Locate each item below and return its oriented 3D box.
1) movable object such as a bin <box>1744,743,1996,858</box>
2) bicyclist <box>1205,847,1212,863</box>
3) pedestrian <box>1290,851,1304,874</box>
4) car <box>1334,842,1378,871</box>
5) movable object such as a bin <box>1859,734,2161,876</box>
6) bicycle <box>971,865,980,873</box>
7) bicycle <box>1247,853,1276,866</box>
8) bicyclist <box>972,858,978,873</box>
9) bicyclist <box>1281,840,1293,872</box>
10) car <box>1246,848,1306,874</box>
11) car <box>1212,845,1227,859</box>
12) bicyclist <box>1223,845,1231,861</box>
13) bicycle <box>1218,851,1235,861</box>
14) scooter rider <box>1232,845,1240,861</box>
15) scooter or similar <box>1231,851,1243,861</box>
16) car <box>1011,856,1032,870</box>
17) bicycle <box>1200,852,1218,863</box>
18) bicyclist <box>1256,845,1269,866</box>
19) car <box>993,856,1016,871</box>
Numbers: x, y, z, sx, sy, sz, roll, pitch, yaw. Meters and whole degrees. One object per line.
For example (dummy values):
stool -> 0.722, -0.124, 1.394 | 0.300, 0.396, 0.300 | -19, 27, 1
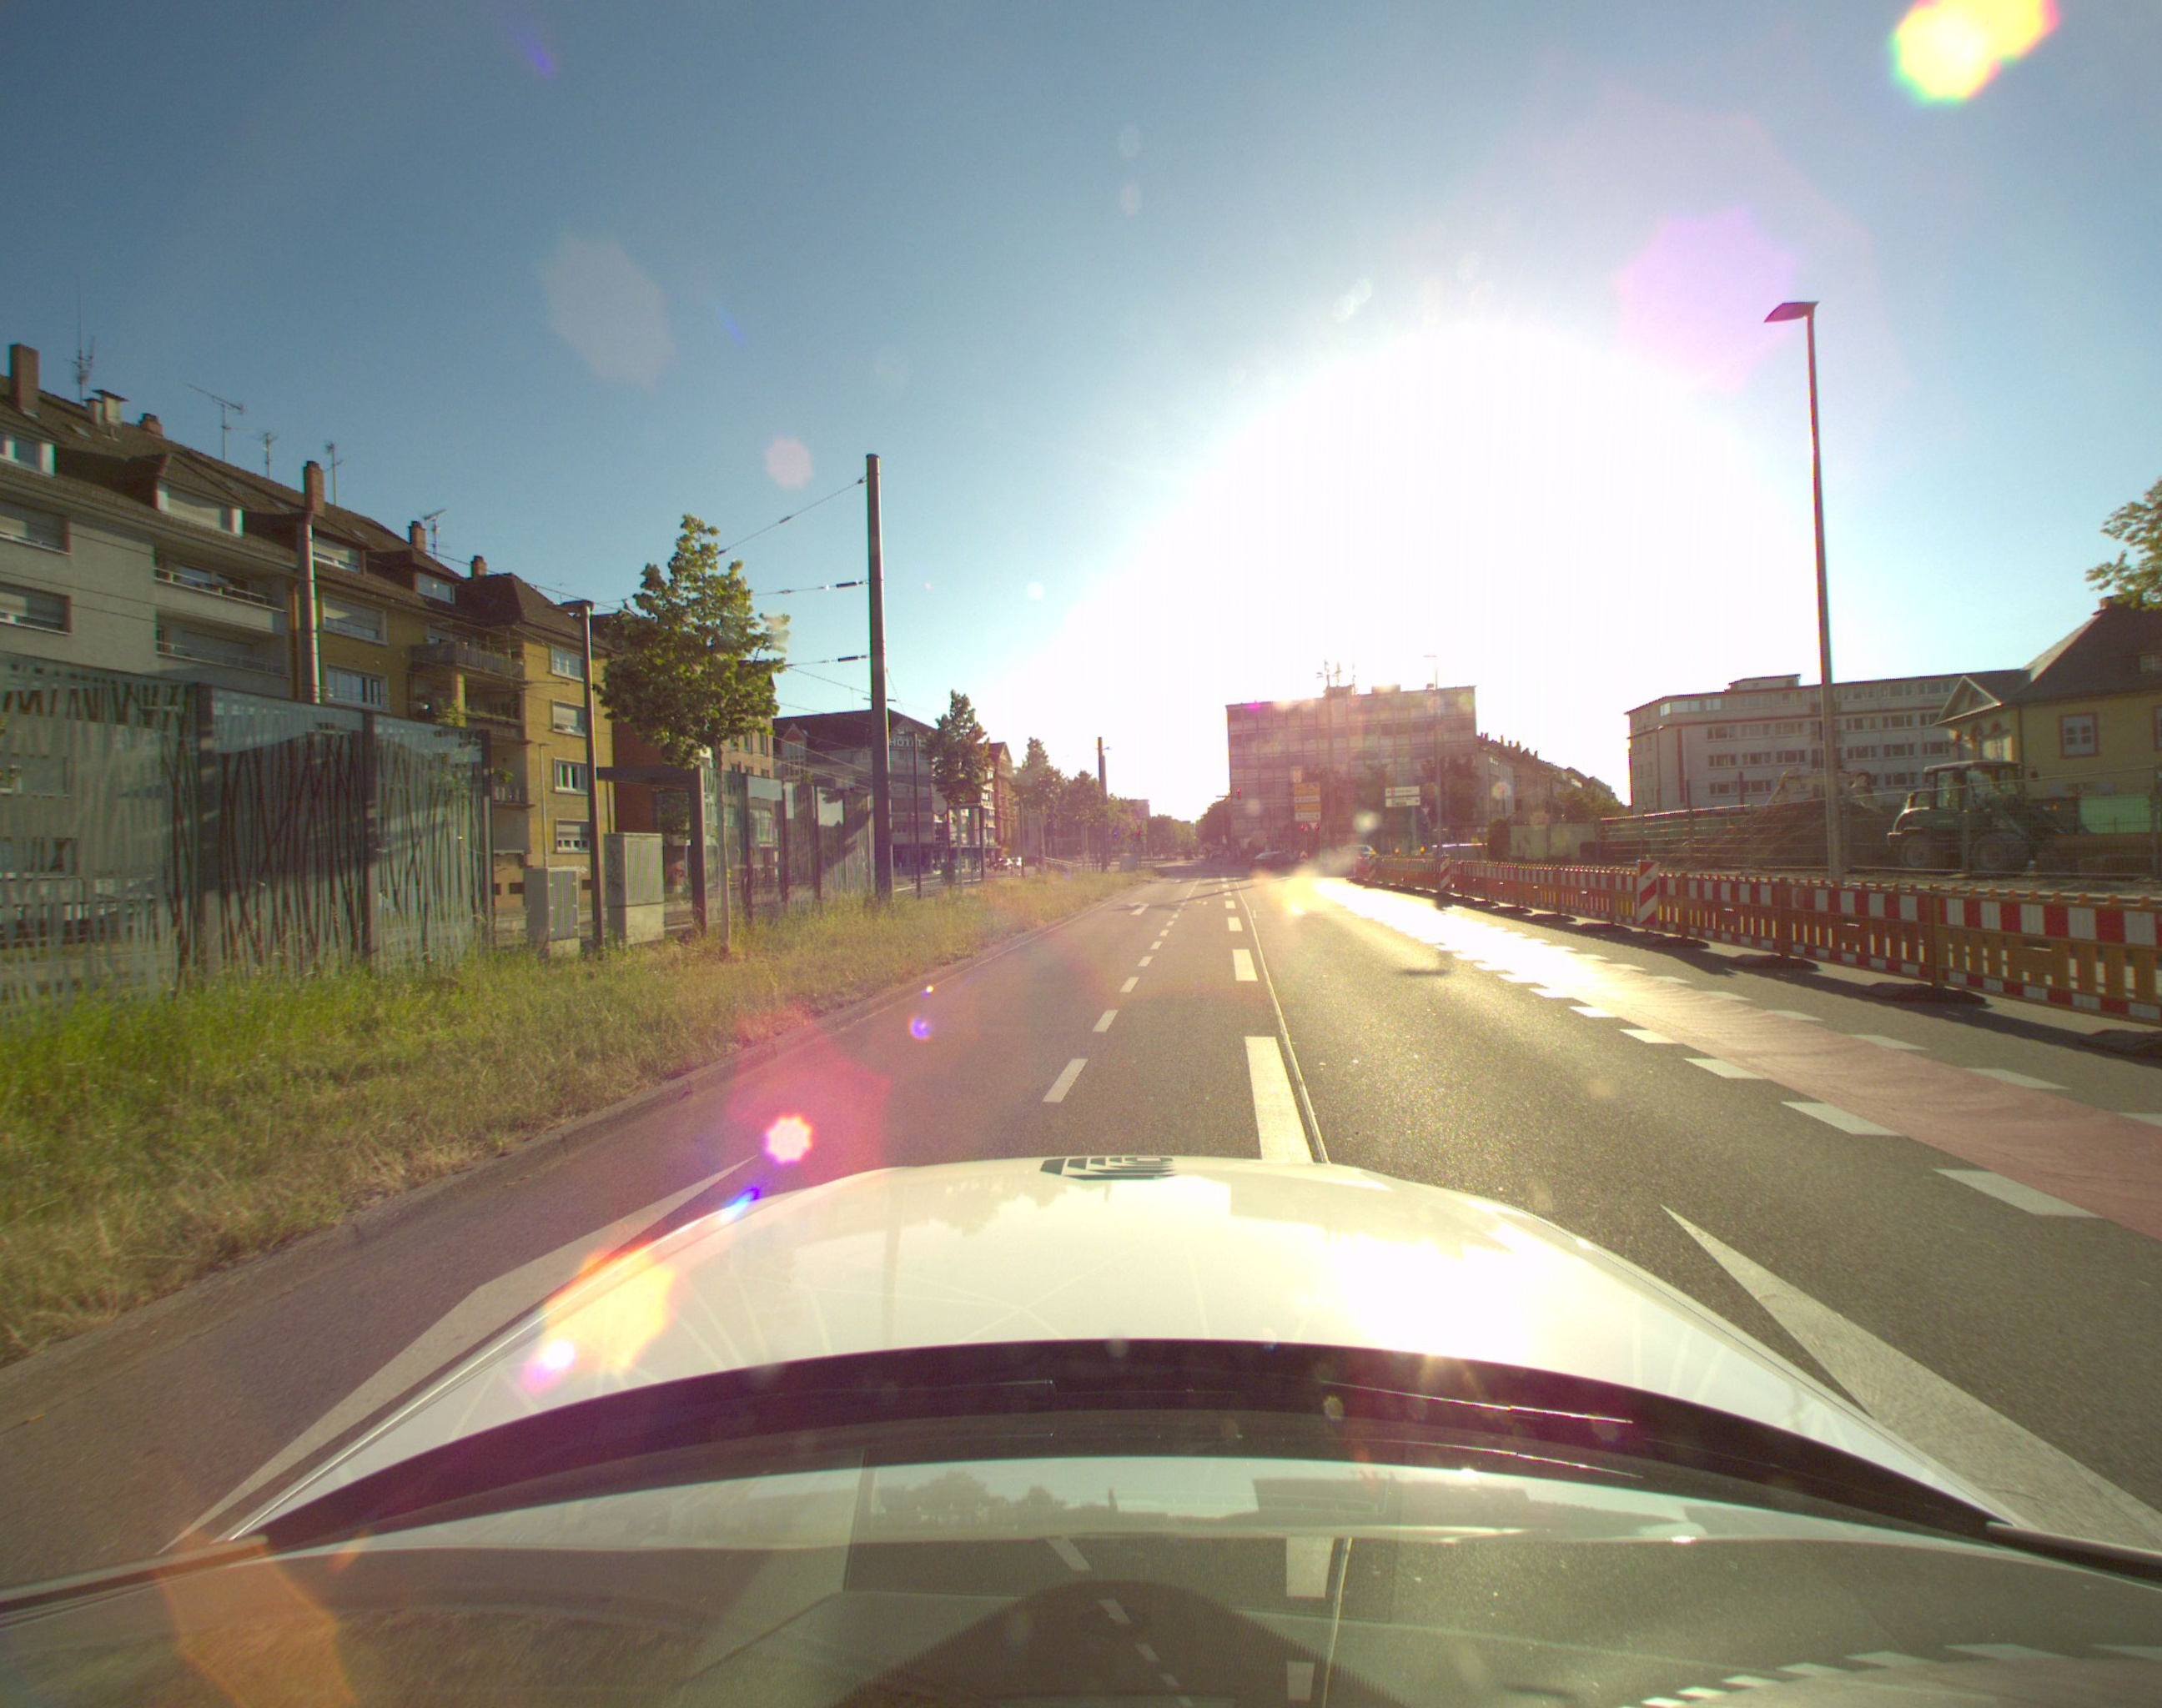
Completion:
movable object such as a bin -> 27.933, -1.765, 29.286 | 6.002, 3.557, 2.880 | -2, 0, 34
bicyclist -> 14.035, 0.065, 89.524 | 0.661, 1.712, 0.538 | -3, 0, -1
pedestrian -> 15.309, 0.583, 57.783 | 0.873, 1.597, 0.657 | -3, 0, 9
car -> 17.826, 0.142, 52.682 | 1.974, 1.693, 4.025 | 0, 1, 29
movable object such as a bin -> 20.911, -0.981, 18.468 | 2.262, 2.704, 4.955 | -2, 0, 9
bicycle -> -14.077, 1.986, 108.625 | 0.594, 0.915, 1.842 | -3, 0, 11
bicycle -> 14.563, 0.445, 65.660 | 2.211, 1.026, 0.684 | -2, 0, 12
bicyclist -> -14.106, 1.536, 108.539 | 0.589, 1.862, 0.644 | -3, 0, 11
bicyclist -> 13.450, 0.128, 53.190 | 0.639, 2.013, 1.070 | 0, 1, 10
car -> 11.726, 0.393, 48.806 | 1.727, 1.426, 4.024 | -2, 0, 43
car -> 25.522, -0.280, 150.577 | 2.471, 2.392, 5.949 | -4, -1, 9
bicyclist -> 16.886, -0.114, 94.175 | 0.661, 1.712, 0.538 | -3, 0, -1
bicycle -> 16.818, 0.228, 94.172 | 1.727, 1.059, 0.539 | -3, 0, -1
scooter rider -> 16.868, -0.130, 88.490 | 0.661, 1.712, 0.526 | -3, 0, -1
scooter or similar -> 16.921, 0.195, 88.484 | 1.168, 1.072, 0.530 | -3, 0, -1
car -> -8.728, 1.279, 120.369 | 1.980, 1.860, 4.013 | -3, 0, 12
bicycle -> 14.080, 0.401, 89.524 | 1.770, 1.072, 0.535 | -3, 0, -1
bicyclist -> 14.621, 0.112, 65.647 | 0.952, 1.661, 0.693 | -2, 0, 12
car -> -10.530, 1.297, 112.561 | 1.980, 1.860, 4.013 | -3, 0, 12
